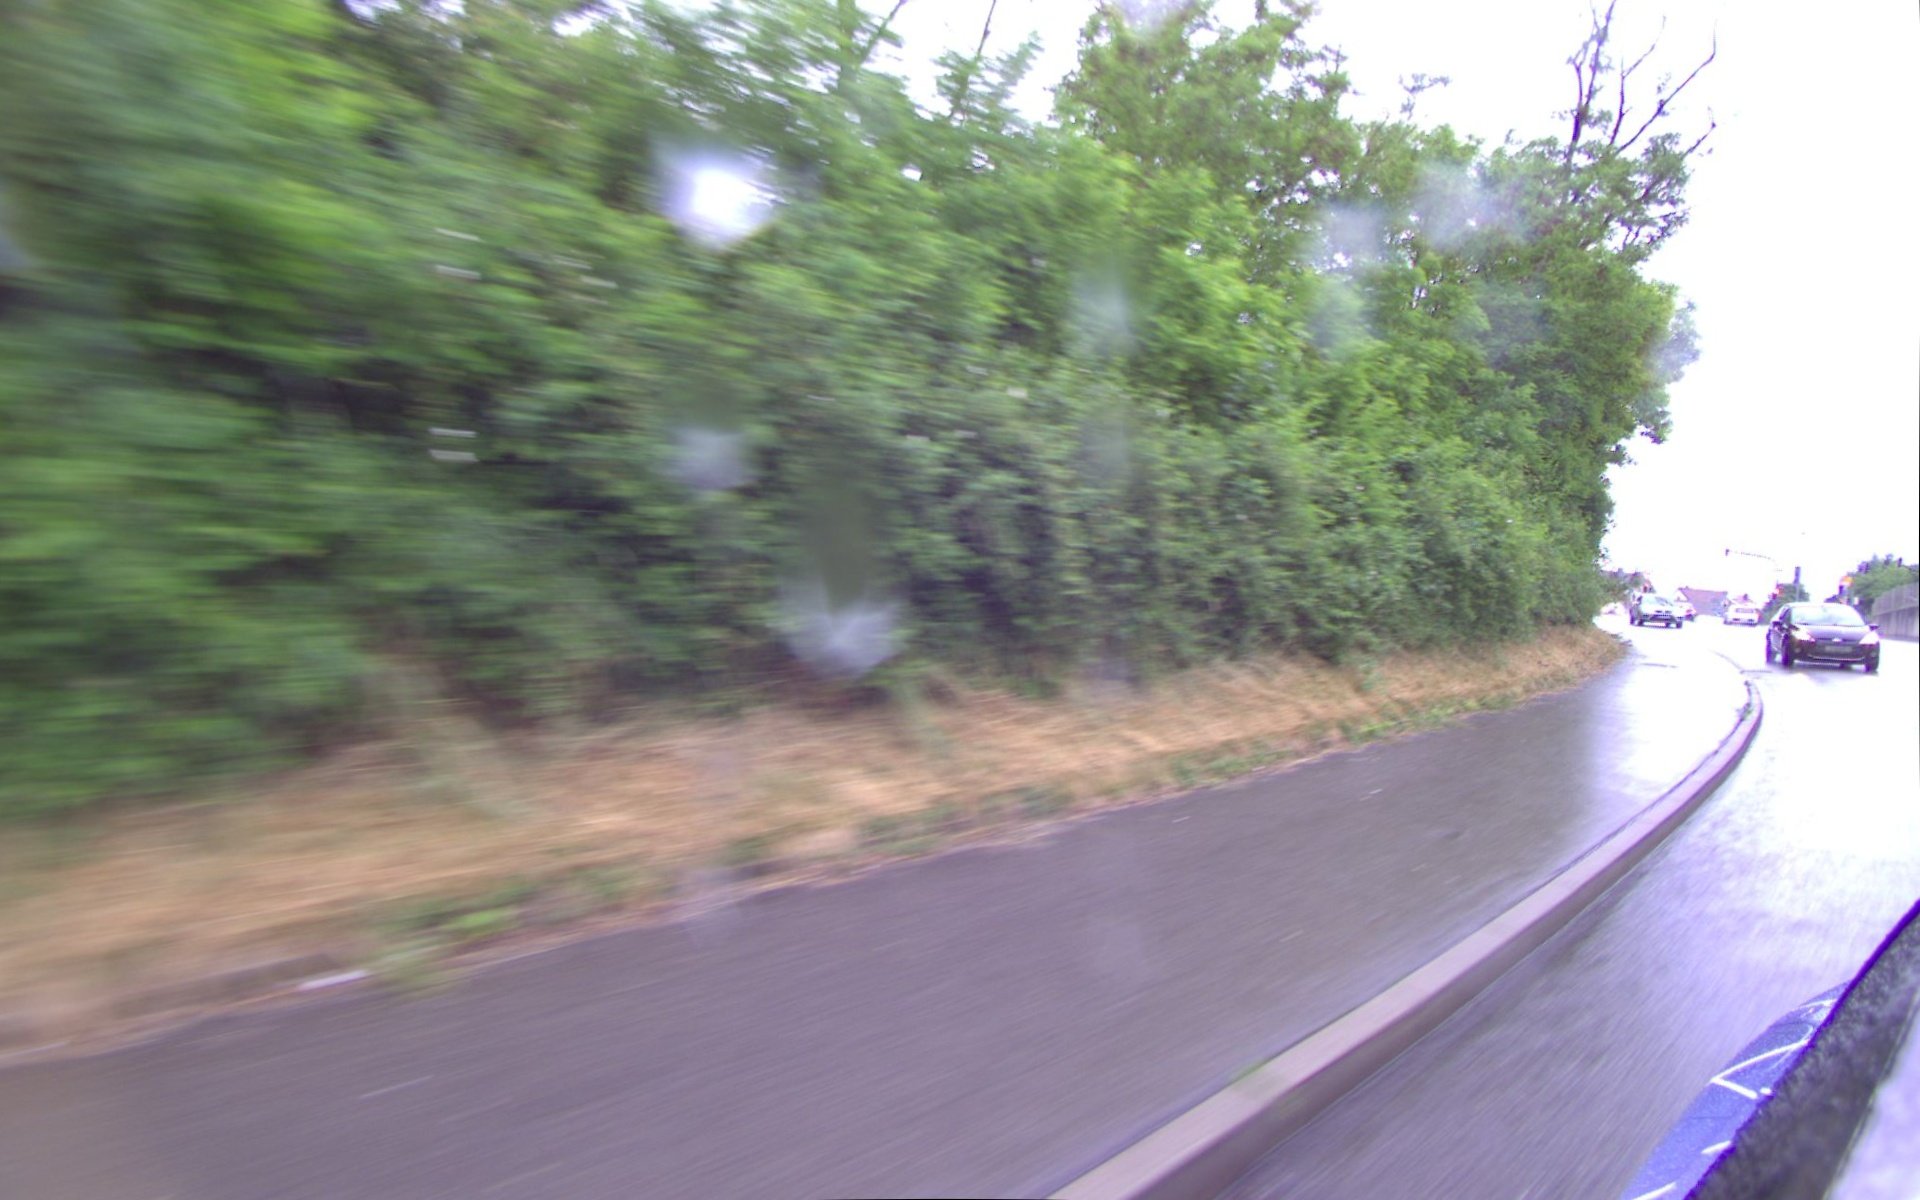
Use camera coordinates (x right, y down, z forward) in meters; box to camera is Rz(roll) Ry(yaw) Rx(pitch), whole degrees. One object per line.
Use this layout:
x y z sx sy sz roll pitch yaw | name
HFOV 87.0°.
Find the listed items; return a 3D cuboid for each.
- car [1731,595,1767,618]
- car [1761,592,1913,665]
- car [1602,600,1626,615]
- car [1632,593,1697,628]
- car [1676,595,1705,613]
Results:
57.344 0.468 73.627 1.727 1.478 3.677 3 3 34 | car
20.638 0.596 24.024 1.859 1.459 4.332 2 2 30 | car
65.264 0.770 100.981 1.942 1.459 4.323 -1 -1 35 | car
33.715 0.457 48.535 1.858 1.458 4.336 5 3 27 | car
59.394 0.305 82.346 1.727 1.320 3.677 3 3 34 | car
